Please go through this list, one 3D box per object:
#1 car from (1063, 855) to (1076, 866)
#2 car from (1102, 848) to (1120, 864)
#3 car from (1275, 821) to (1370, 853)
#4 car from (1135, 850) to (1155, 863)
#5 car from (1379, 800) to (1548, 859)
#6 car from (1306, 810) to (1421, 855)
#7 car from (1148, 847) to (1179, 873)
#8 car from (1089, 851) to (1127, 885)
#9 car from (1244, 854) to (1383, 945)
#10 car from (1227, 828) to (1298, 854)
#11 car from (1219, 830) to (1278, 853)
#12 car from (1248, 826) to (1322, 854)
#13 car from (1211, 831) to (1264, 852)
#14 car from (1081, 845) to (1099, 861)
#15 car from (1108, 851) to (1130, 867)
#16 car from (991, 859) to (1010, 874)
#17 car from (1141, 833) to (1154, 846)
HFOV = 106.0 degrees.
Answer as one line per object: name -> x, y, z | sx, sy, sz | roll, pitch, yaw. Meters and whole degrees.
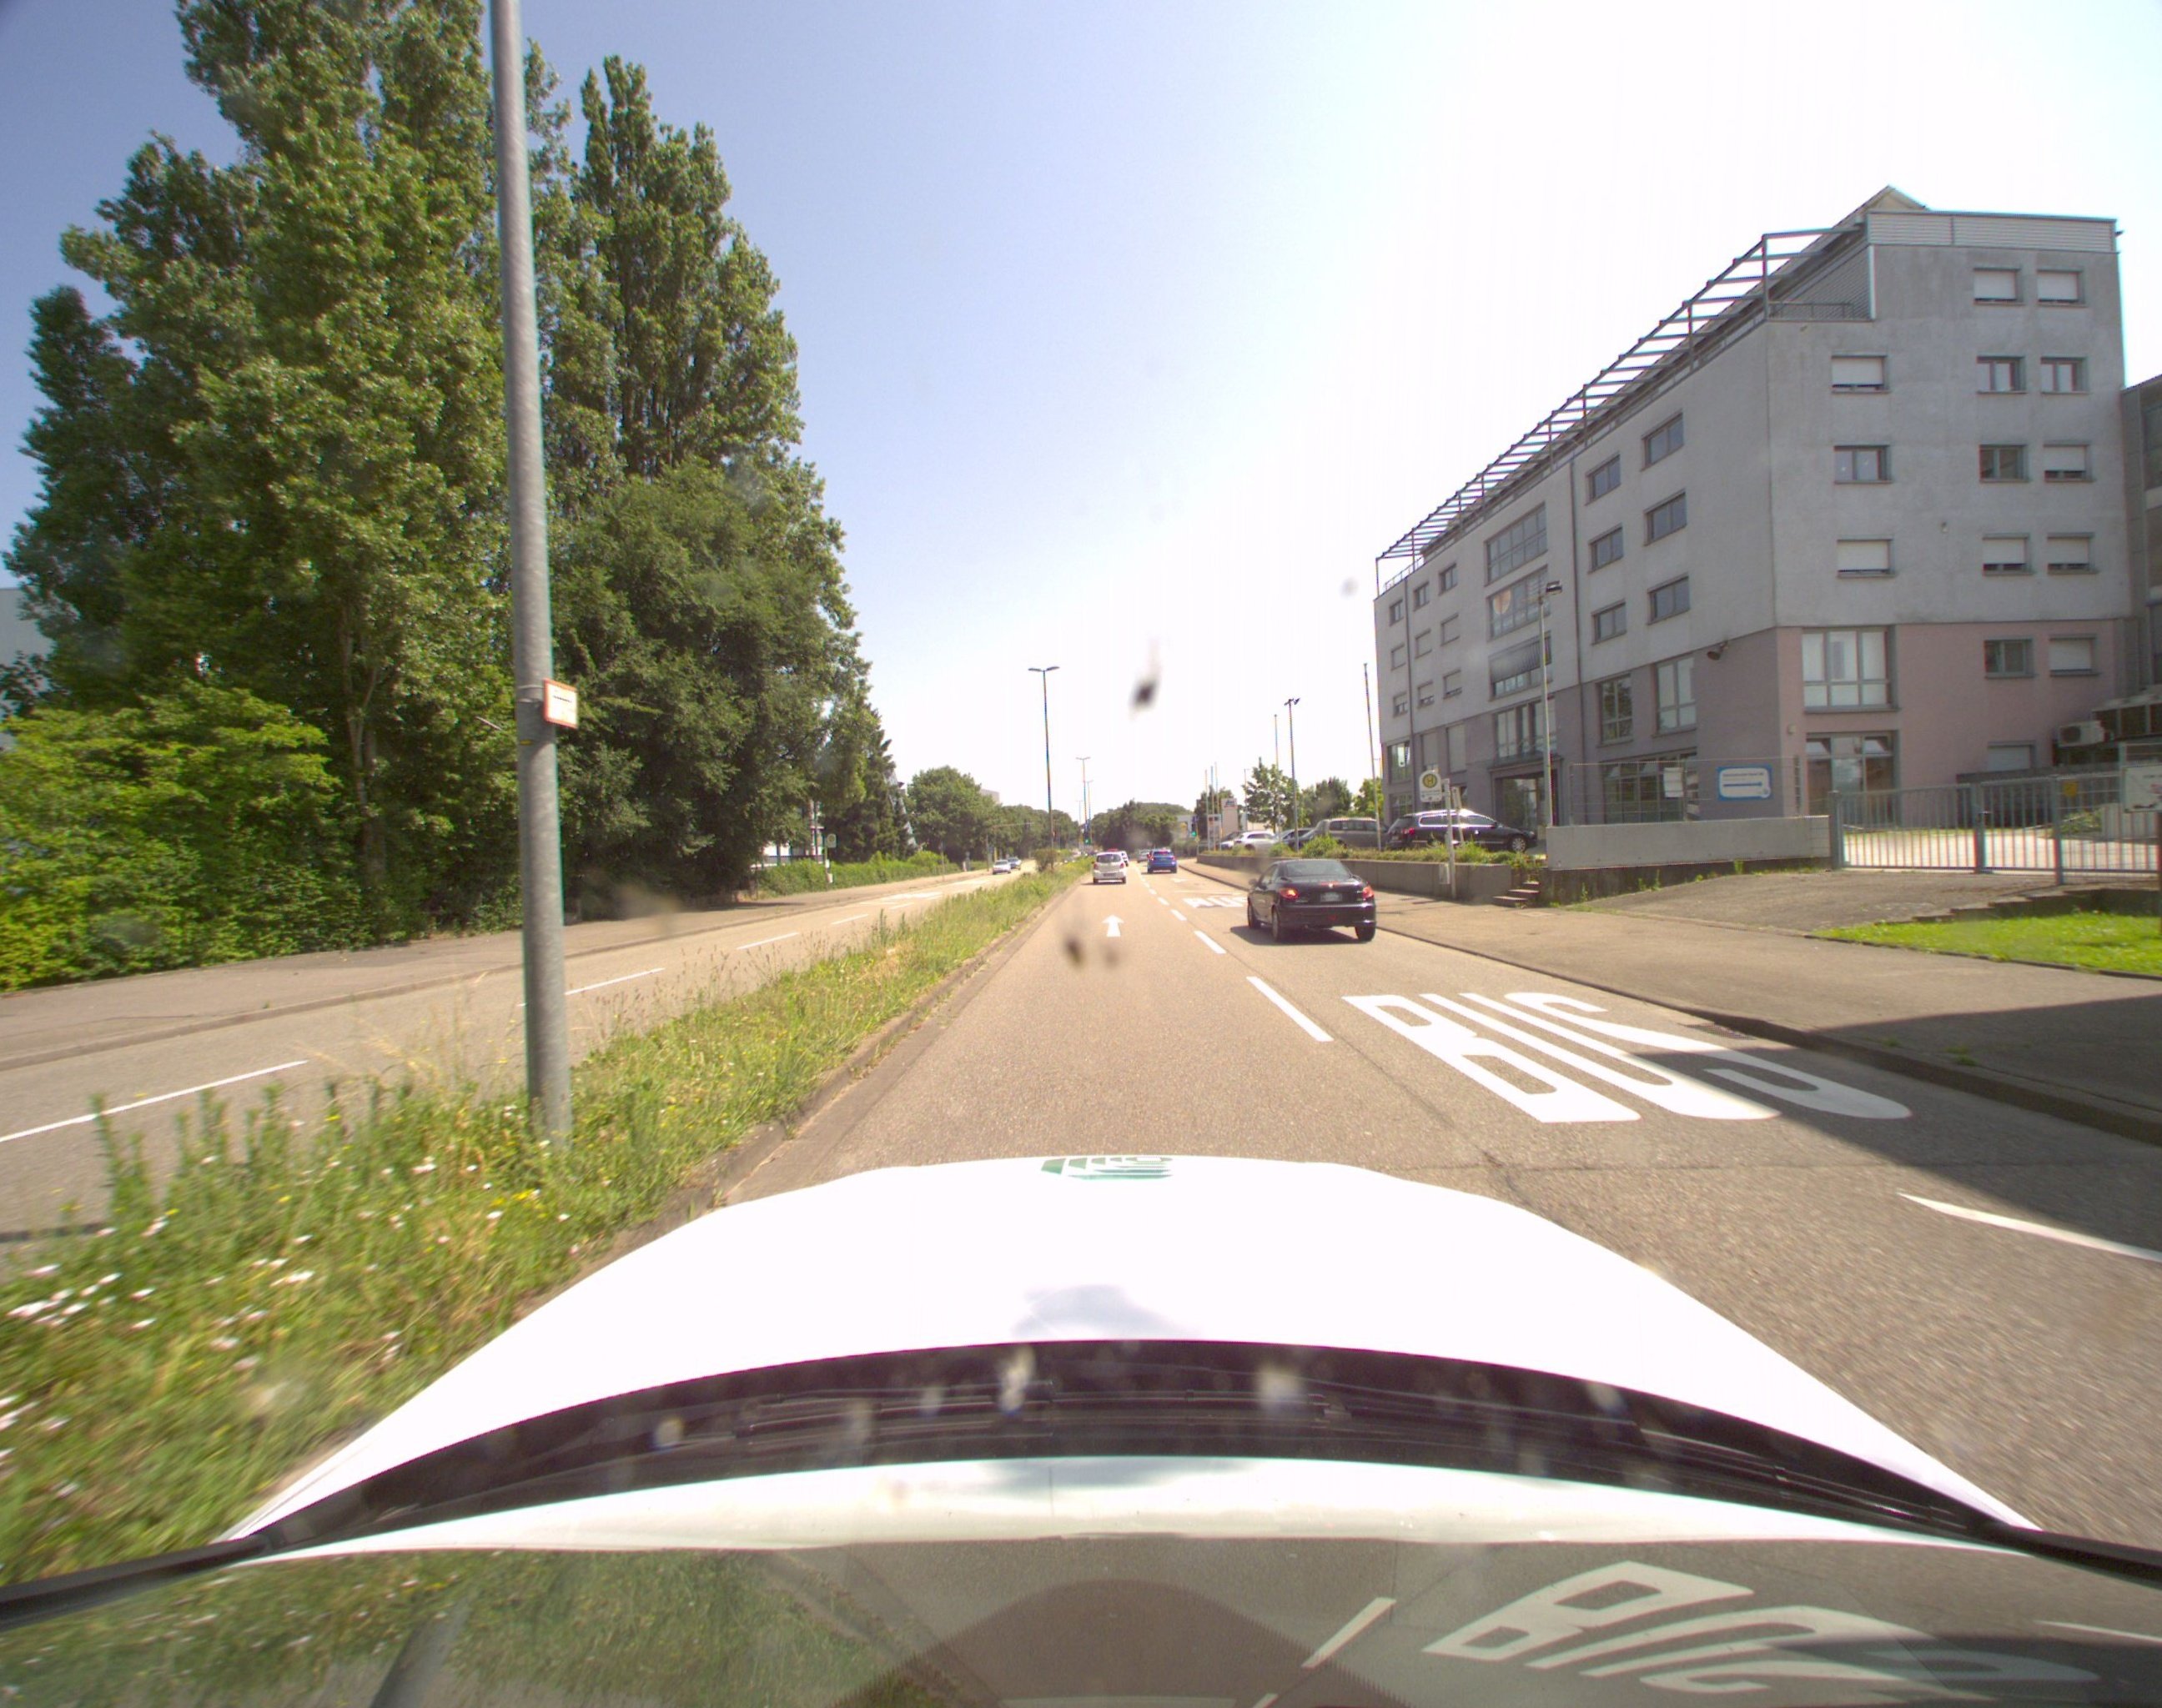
car -> -1.555, 0.849, 108.190 | 1.570, 1.269, 3.725 | -3, 0, -3
car -> 3.560, 0.235, 97.413 | 1.771, 1.740, 3.997 | -3, 0, -2
car -> 12.510, -0.877, 42.368 | 4.306, 1.368, 2.000 | -3, 0, 0
car -> 7.247, 0.268, 92.497 | 1.986, 1.420, 4.001 | -3, 0, 1
car -> 12.316, -0.780, 26.430 | 4.484, 1.583, 2.000 | -3, 0, 0
car -> 12.123, -0.908, 35.173 | 4.212, 1.647, 2.000 | -3, 0, 0
car -> 5.465, 0.389, 54.445 | 1.820, 1.580, 3.608 | -2, 1, 3
car -> 1.386, 0.652, 40.388 | 1.741, 1.520, 3.749 | -1, 1, 3
car -> 4.073, 0.731, 14.812 | 1.621, 1.364, 3.608 | -1, 1, 2
car -> 12.673, -0.885, 57.051 | 4.519, 1.544, 2.000 | -3, 0, 1
car -> 13.449, -1.017, 65.592 | 4.333, 1.544, 2.000 | -3, 0, -1
car -> 12.265, -0.823, 48.973 | 3.935, 1.452, 1.753 | -3, 0, -20
car -> 13.104, -1.015, 68.239 | 3.975, 1.544, 2.000 | -3, 0, -1
car -> 1.078, -0.127, 97.640 | 1.815, 1.661, 3.997 | -3, 1, -3
car -> 3.617, 0.440, 77.988 | 1.986, 1.442, 4.001 | -3, 0, 1
car -> -8.159, 1.236, 82.959 | 1.732, 1.413, 4.366 | -3, 0, -3
car -> 11.153, -2.428, 136.762 | 1.765, 2.013, 3.988 | -3, 1, -2
